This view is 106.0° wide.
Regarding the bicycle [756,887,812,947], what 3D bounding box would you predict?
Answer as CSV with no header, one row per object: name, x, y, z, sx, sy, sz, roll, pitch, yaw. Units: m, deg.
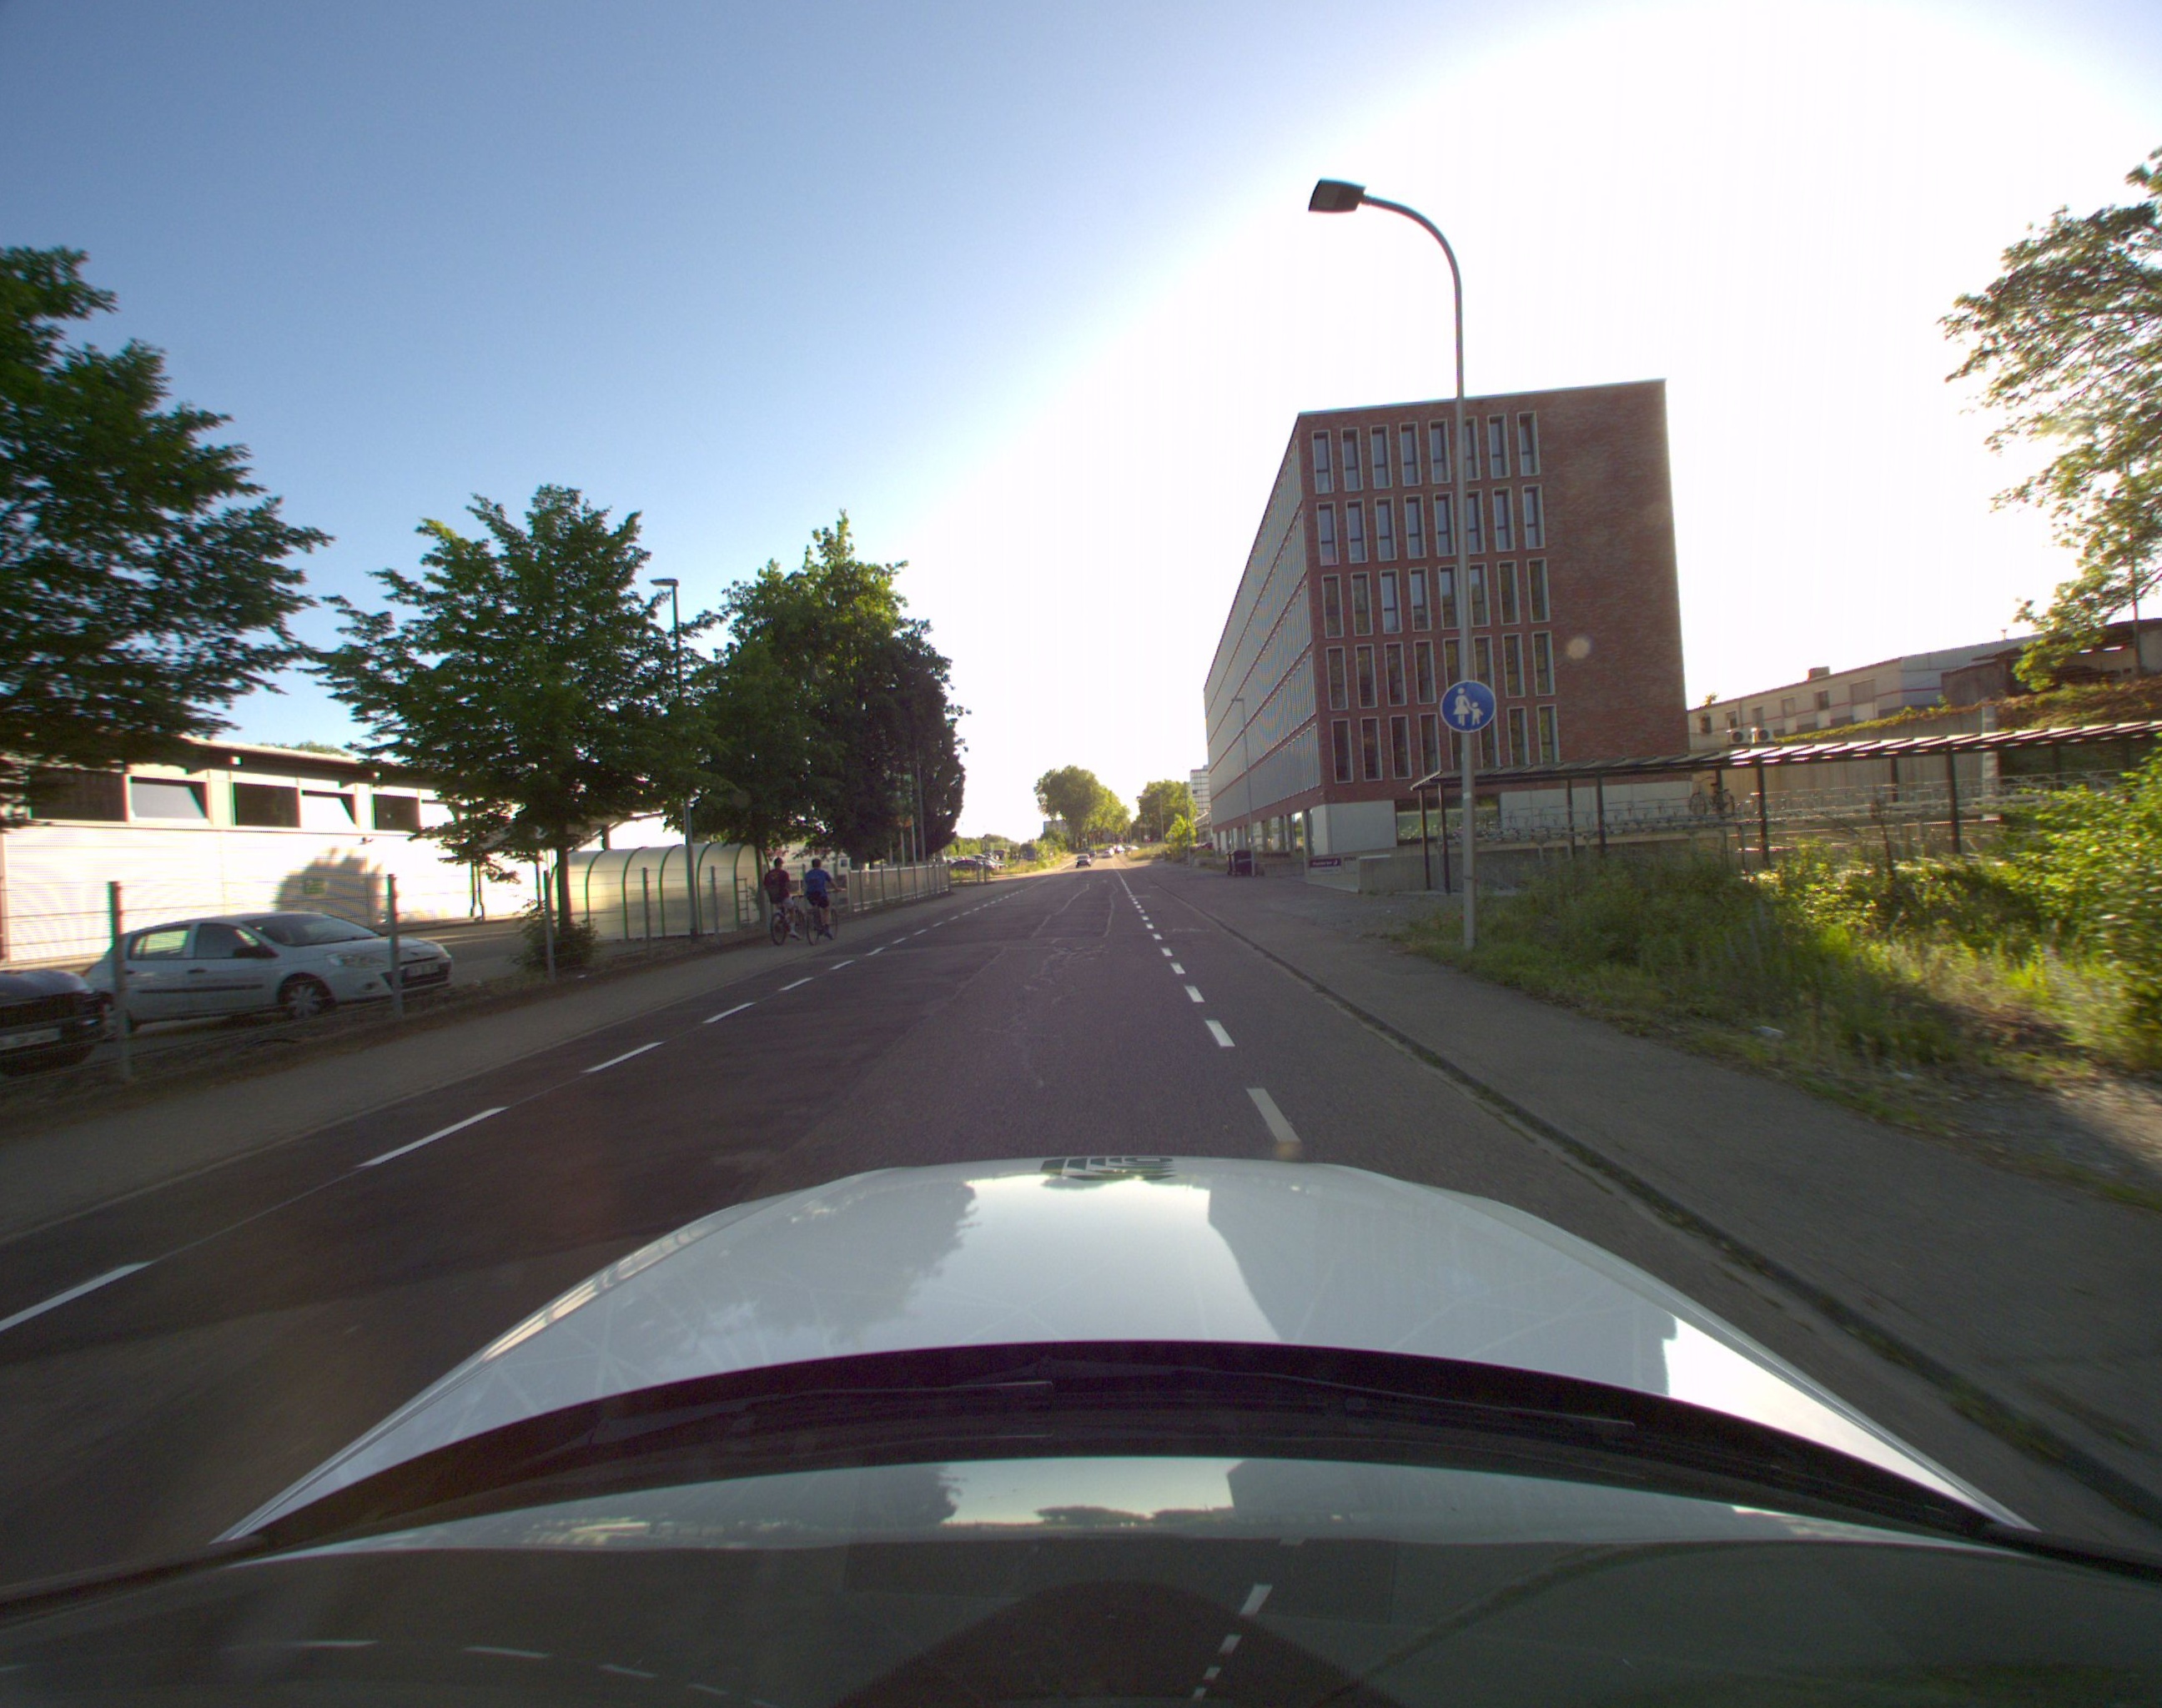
bicycle,-6.473,1.340,17.834,0.468,1.148,1.870,-2,0,2

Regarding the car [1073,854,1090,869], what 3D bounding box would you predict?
car,0.125,0.832,97.429,1.734,1.525,4.113,-7,0,2

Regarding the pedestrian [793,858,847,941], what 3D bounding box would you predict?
pedestrian,-5.673,0.962,17.746,0.718,1.720,1.058,-3,0,2

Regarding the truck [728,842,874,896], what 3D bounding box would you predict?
truck,-21.350,1.125,62.394,10.064,3.614,2.776,-3,-1,0

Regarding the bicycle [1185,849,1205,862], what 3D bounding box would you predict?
bicycle,11.712,0.147,83.428,1.928,1.169,0.374,-4,0,-5

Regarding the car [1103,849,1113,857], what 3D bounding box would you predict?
car,5.020,-0.142,152.049,1.782,1.420,4.004,-3,1,3

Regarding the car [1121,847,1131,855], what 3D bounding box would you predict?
car,10.394,-0.595,186.920,2.155,1.684,4.003,-4,0,3

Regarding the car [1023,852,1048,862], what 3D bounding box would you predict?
car,-9.162,0.596,164.727,4.828,1.834,2.000,-3,0,0

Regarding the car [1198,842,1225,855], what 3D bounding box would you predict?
car,21.022,-0.850,131.022,4.164,1.581,1.853,-4,-8,5

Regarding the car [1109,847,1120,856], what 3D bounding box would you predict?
car,7.502,-0.535,181.523,2.155,1.684,4.003,-4,0,3

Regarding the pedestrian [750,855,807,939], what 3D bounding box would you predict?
pedestrian,-6.551,0.909,17.691,0.718,1.720,1.058,-3,0,2

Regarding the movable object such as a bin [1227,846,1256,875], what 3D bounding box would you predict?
movable object such as a bin,8.099,0.312,41.144,1.124,1.371,1.345,-4,0,1

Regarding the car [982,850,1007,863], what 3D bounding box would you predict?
car,-18.929,0.592,178.287,4.909,2.459,2.320,-4,0,0

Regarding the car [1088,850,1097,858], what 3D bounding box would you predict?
car,2.350,-0.024,165.280,1.648,1.503,4.001,-4,-1,2

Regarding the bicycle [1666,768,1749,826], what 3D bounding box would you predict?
bicycle,16.241,-1.459,21.174,0.628,1.321,1.991,-3,-1,2

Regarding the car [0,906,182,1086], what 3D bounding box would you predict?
car,-11.373,1.482,7.299,4.173,1.451,2.052,-6,0,-1

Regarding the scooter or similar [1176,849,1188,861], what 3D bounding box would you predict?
scooter or similar,11.754,0.127,95.142,1.334,1.245,0.424,-4,0,6

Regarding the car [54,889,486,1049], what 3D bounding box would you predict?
car,-10.790,1.473,11.095,3.879,1.511,1.785,-6,0,-2

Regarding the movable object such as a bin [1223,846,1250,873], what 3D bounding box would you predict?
movable object such as a bin,8.145,0.294,42.726,1.124,1.336,1.345,-4,0,1

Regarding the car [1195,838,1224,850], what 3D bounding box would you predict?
car,19.621,-1.535,124.099,4.164,1.580,1.854,-3,0,5

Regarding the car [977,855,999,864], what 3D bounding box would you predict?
car,-19.526,1.219,170.682,4.307,1.618,1.878,-3,0,0

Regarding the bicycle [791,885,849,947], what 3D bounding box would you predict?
bicycle,-5.635,1.306,17.689,0.444,1.148,2.202,-2,0,2
